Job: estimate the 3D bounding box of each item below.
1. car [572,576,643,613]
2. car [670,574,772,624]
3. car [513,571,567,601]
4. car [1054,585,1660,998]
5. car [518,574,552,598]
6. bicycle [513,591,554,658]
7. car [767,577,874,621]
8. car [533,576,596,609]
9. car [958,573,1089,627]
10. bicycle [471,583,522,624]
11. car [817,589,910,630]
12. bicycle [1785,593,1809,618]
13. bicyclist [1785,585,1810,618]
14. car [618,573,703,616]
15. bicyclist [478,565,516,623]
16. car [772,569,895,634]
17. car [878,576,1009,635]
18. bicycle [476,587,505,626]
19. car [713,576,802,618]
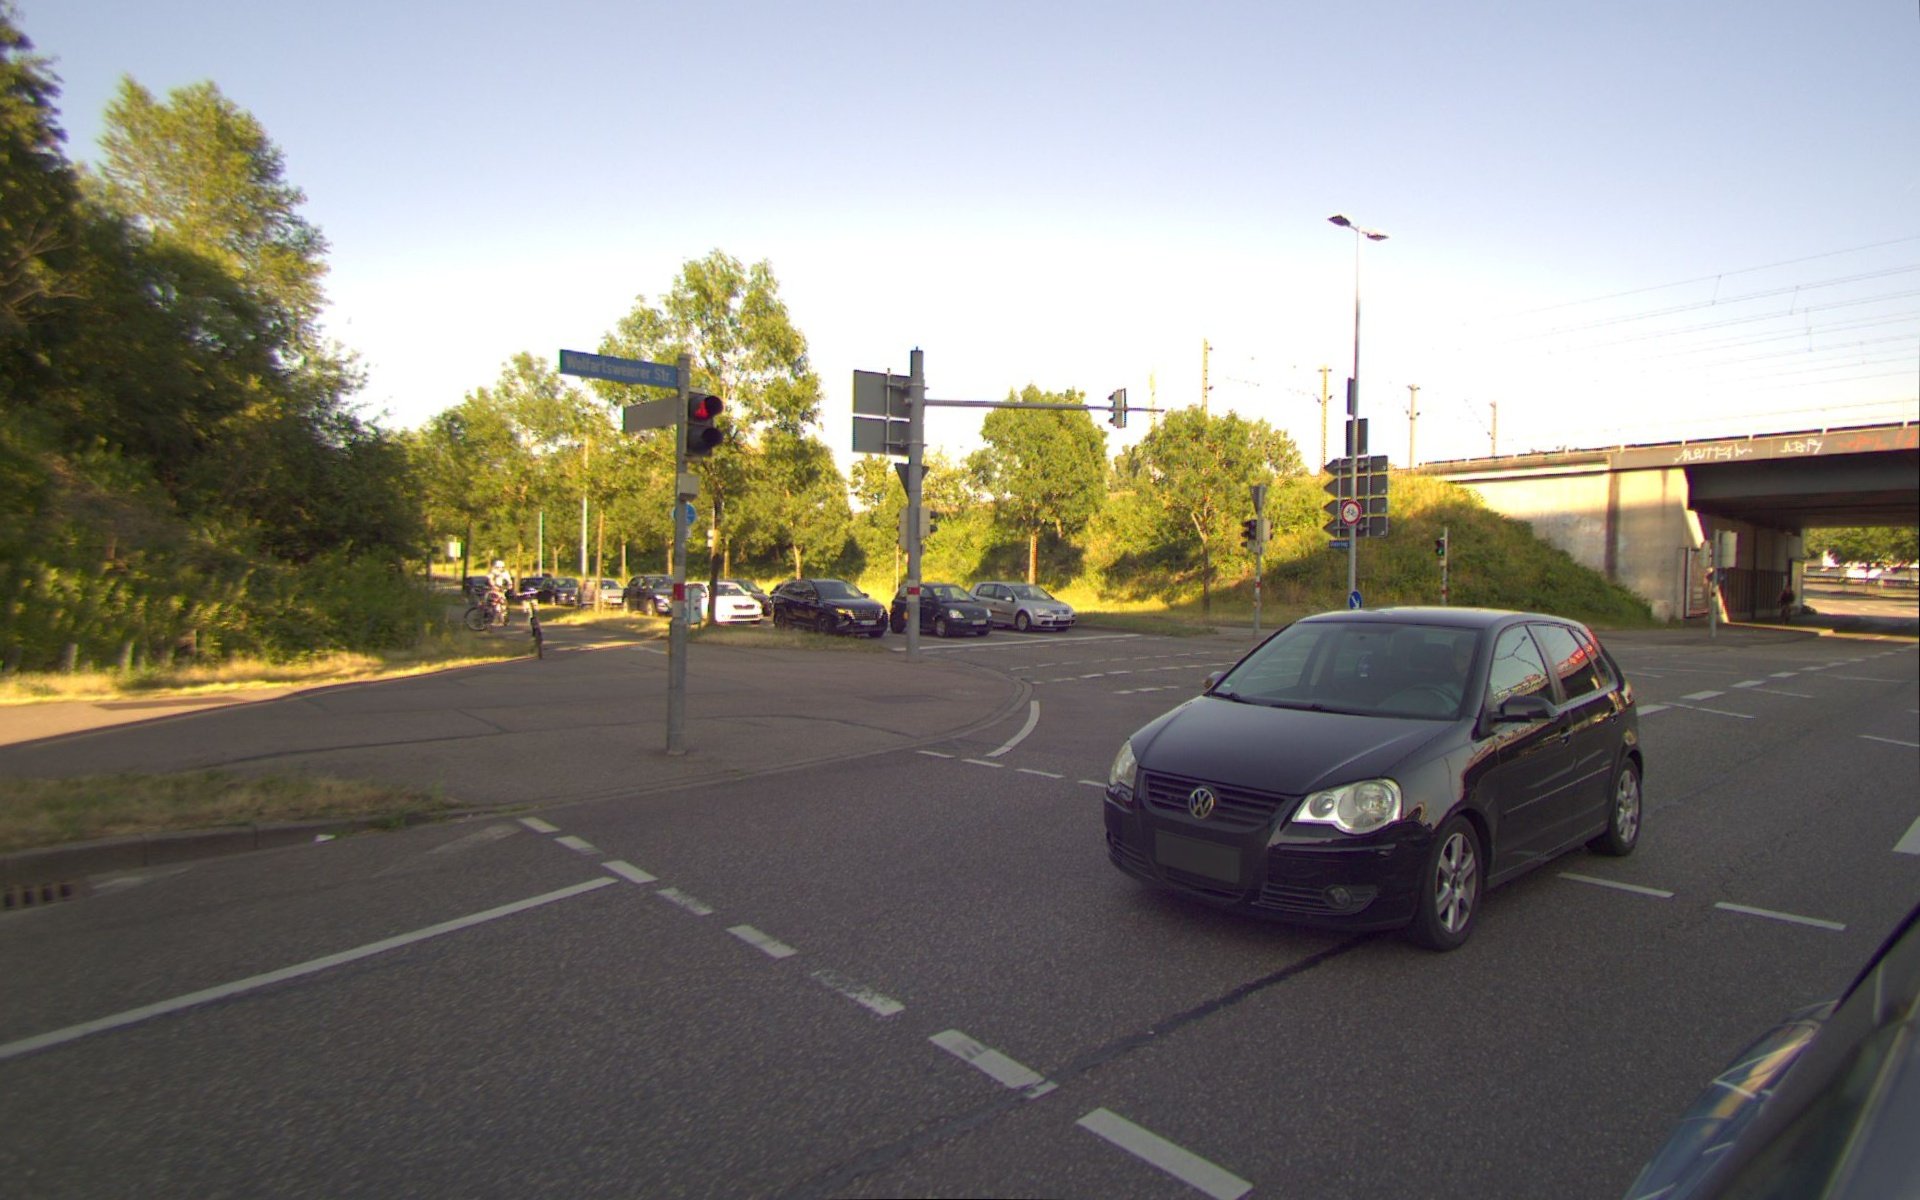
[{"bbox_3d":[-16.117,-0.275,46.182,2.002,1.587,4.343,-1,1,-34],"label":"car"},{"bbox_3d":[-8.333,-0.061,34.960,2.002,1.587,4.343,-1,1,-34],"label":"car"},{"bbox_3d":[-24.169,-0.798,58.106,2.002,1.587,4.343,-1,1,-34],"label":"car"},{"bbox_3d":[2.325,0.665,5.449,3.621,1.427,1.618,-2,1,-43],"label":"car"},{"bbox_3d":[-40.347,-1.296,95.958,1.964,2.206,3.996,-1,1,-39],"label":"car"},{"bbox_3d":[-7.241,0.394,17.134,0.566,1.003,1.671,3,1,-24],"label":"bicycle"},{"bbox_3d":[-4.999,-0.068,35.740,2.002,1.425,4.343,-1,1,-34],"label":"car"},{"bbox_3d":[-19.922,-0.376,50.894,2.002,1.587,4.343,-1,1,-34],"label":"car"},{"bbox_3d":[1.900,-0.013,31.263,1.857,1.549,3.996,-2,1,-39],"label":"car"},{"bbox_3d":[-13.341,0.091,29.097,0.807,1.126,2.016,-1,1,-41],"label":"bicycle"},{"bbox_3d":[-4.086,0.343,42.314,2.002,1.587,4.343,-1,1,-34],"label":"car"},{"bbox_3d":[37.525,0.227,45.338,0.779,1.070,2.460,0,1,41],"label":"bicycle"},{"bbox_3d":[37.480,0.050,45.304,0.840,1.439,1.098,0,1,41],"label":"bicyclist"},{"bbox_3d":[-11.965,-0.237,40.281,2.002,1.587,4.343,-1,1,-34],"label":"car"},{"bbox_3d":[-13.286,-0.181,29.039,0.779,1.614,0.858,-1,1,-41],"label":"bicyclist"},{"bbox_3d":[-3.656,0.009,28.766,1.827,1.715,4.000,-1,1,-34],"label":"car"},{"bbox_3d":[-0.555,0.126,29.528,1.962,1.549,4.000,-1,1,-34],"label":"car"},{"bbox_3d":[-12.330,0.157,26.567,0.626,0.993,1.800,1,0,-26],"label":"bicycle"},{"bbox_3d":[-8.270,-0.137,41.132,2.002,1.587,4.343,-1,1,-34],"label":"car"}]
